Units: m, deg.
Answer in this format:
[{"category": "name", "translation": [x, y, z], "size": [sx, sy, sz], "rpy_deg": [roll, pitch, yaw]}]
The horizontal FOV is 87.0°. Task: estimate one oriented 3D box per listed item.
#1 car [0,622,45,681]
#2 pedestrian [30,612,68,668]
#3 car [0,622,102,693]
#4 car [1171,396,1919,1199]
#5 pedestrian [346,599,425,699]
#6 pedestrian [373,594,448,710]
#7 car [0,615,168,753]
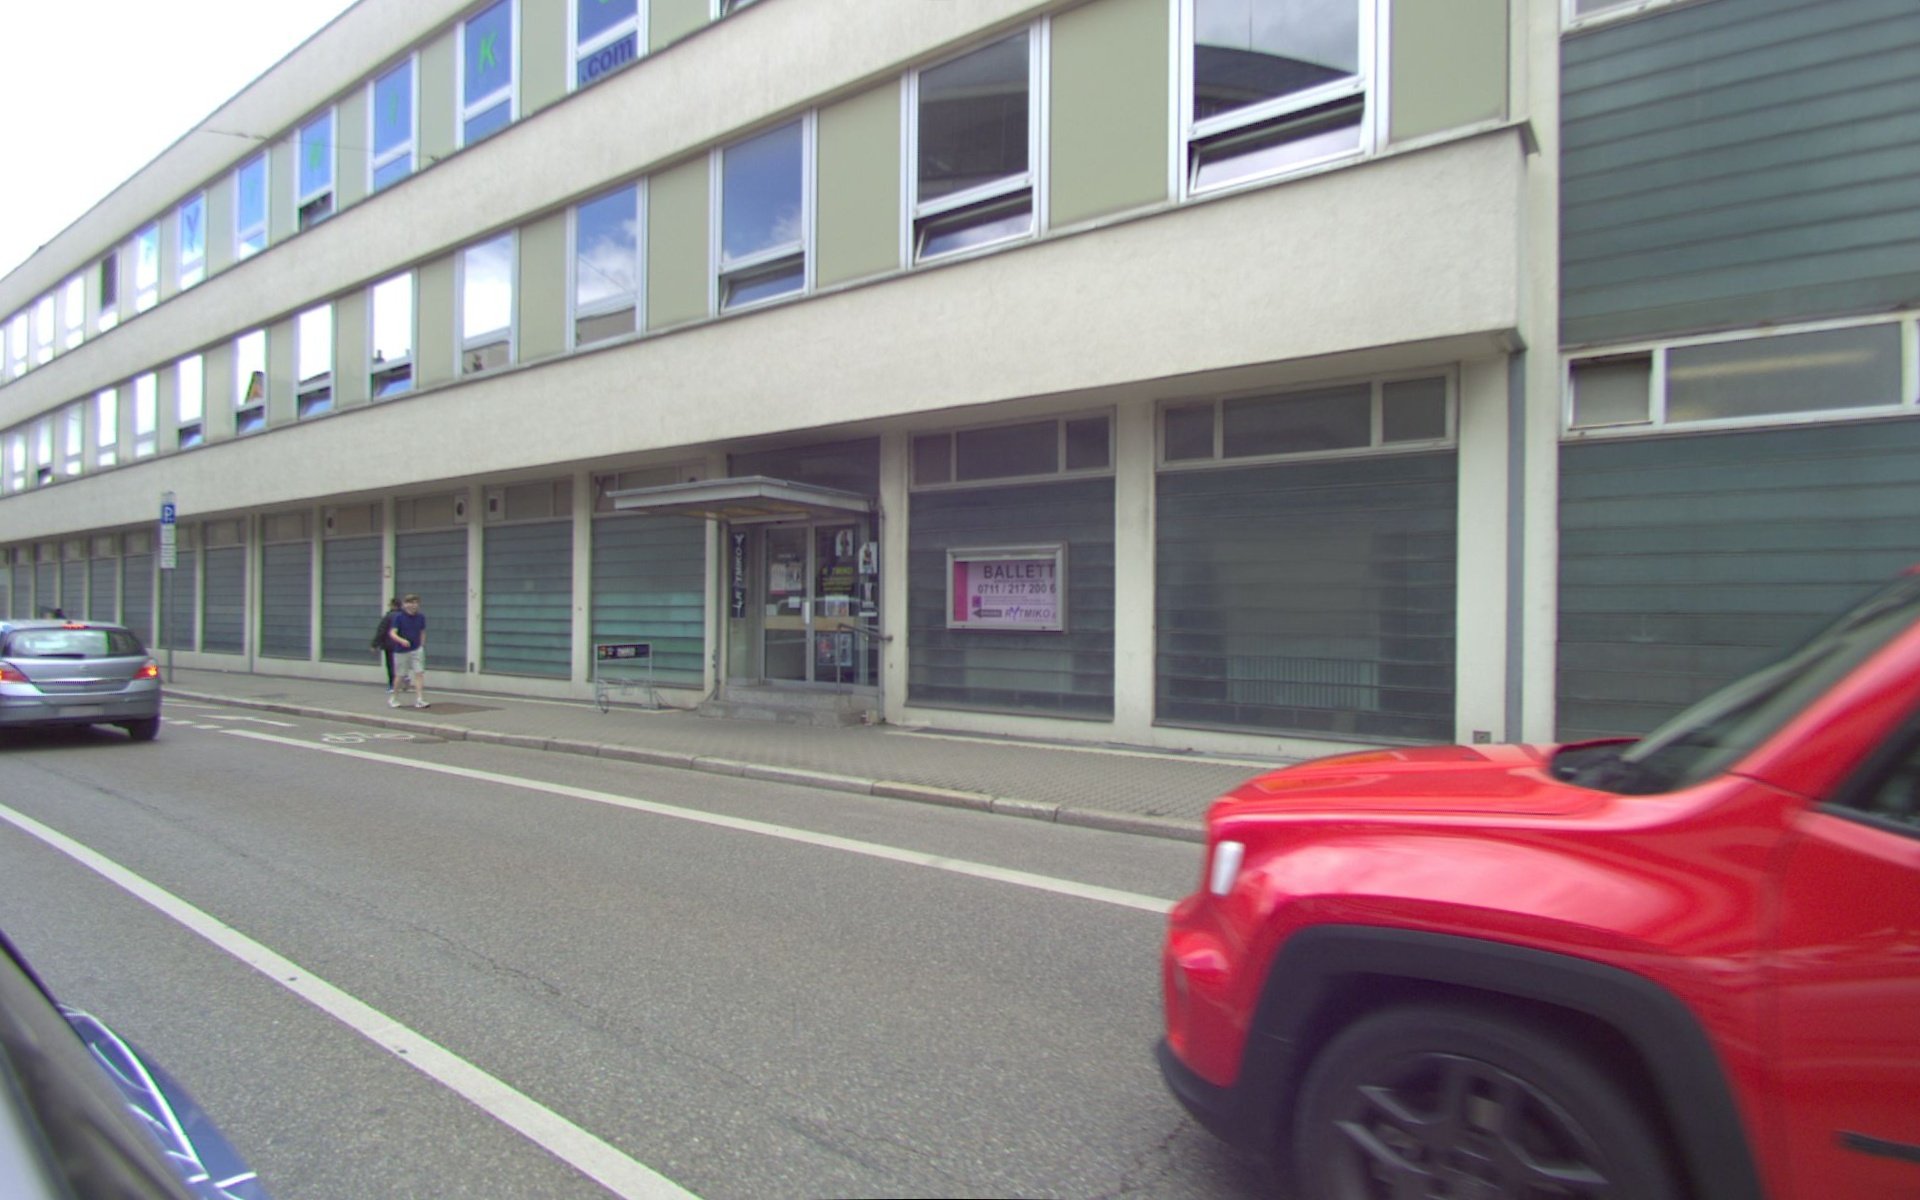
[{"category": "car", "translation": [-25.146, 1.277, 25.966], "size": [4.259, 1.437, 1.797], "rpy_deg": [-1, -3, 39]}, {"category": "pedestrian", "translation": [-28.684, 1.259, 31.877], "size": [0.641, 1.731, 0.591], "rpy_deg": [0, -2, 3]}, {"category": "car", "translation": [-20.885, 1.242, 22.631], "size": [4.546, 1.445, 1.654], "rpy_deg": [-1, -3, 38]}, {"category": "car", "translation": [2.544, 0.563, 1.788], "size": [3.890, 1.707, 1.783], "rpy_deg": [-1, -2, 37]}, {"category": "pedestrian", "translation": [-10.289, 0.850, 18.128], "size": [1.029, 1.731, 0.854], "rpy_deg": [-1, 0, 34]}, {"category": "pedestrian", "translation": [-8.510, 0.790, 15.661], "size": [1.052, 1.731, 0.584], "rpy_deg": [-1, -2, 34]}, {"category": "car", "translation": [-11.477, 0.938, 12.526], "size": [3.913, 1.477, 1.642], "rpy_deg": [-1, -2, 37]}]
